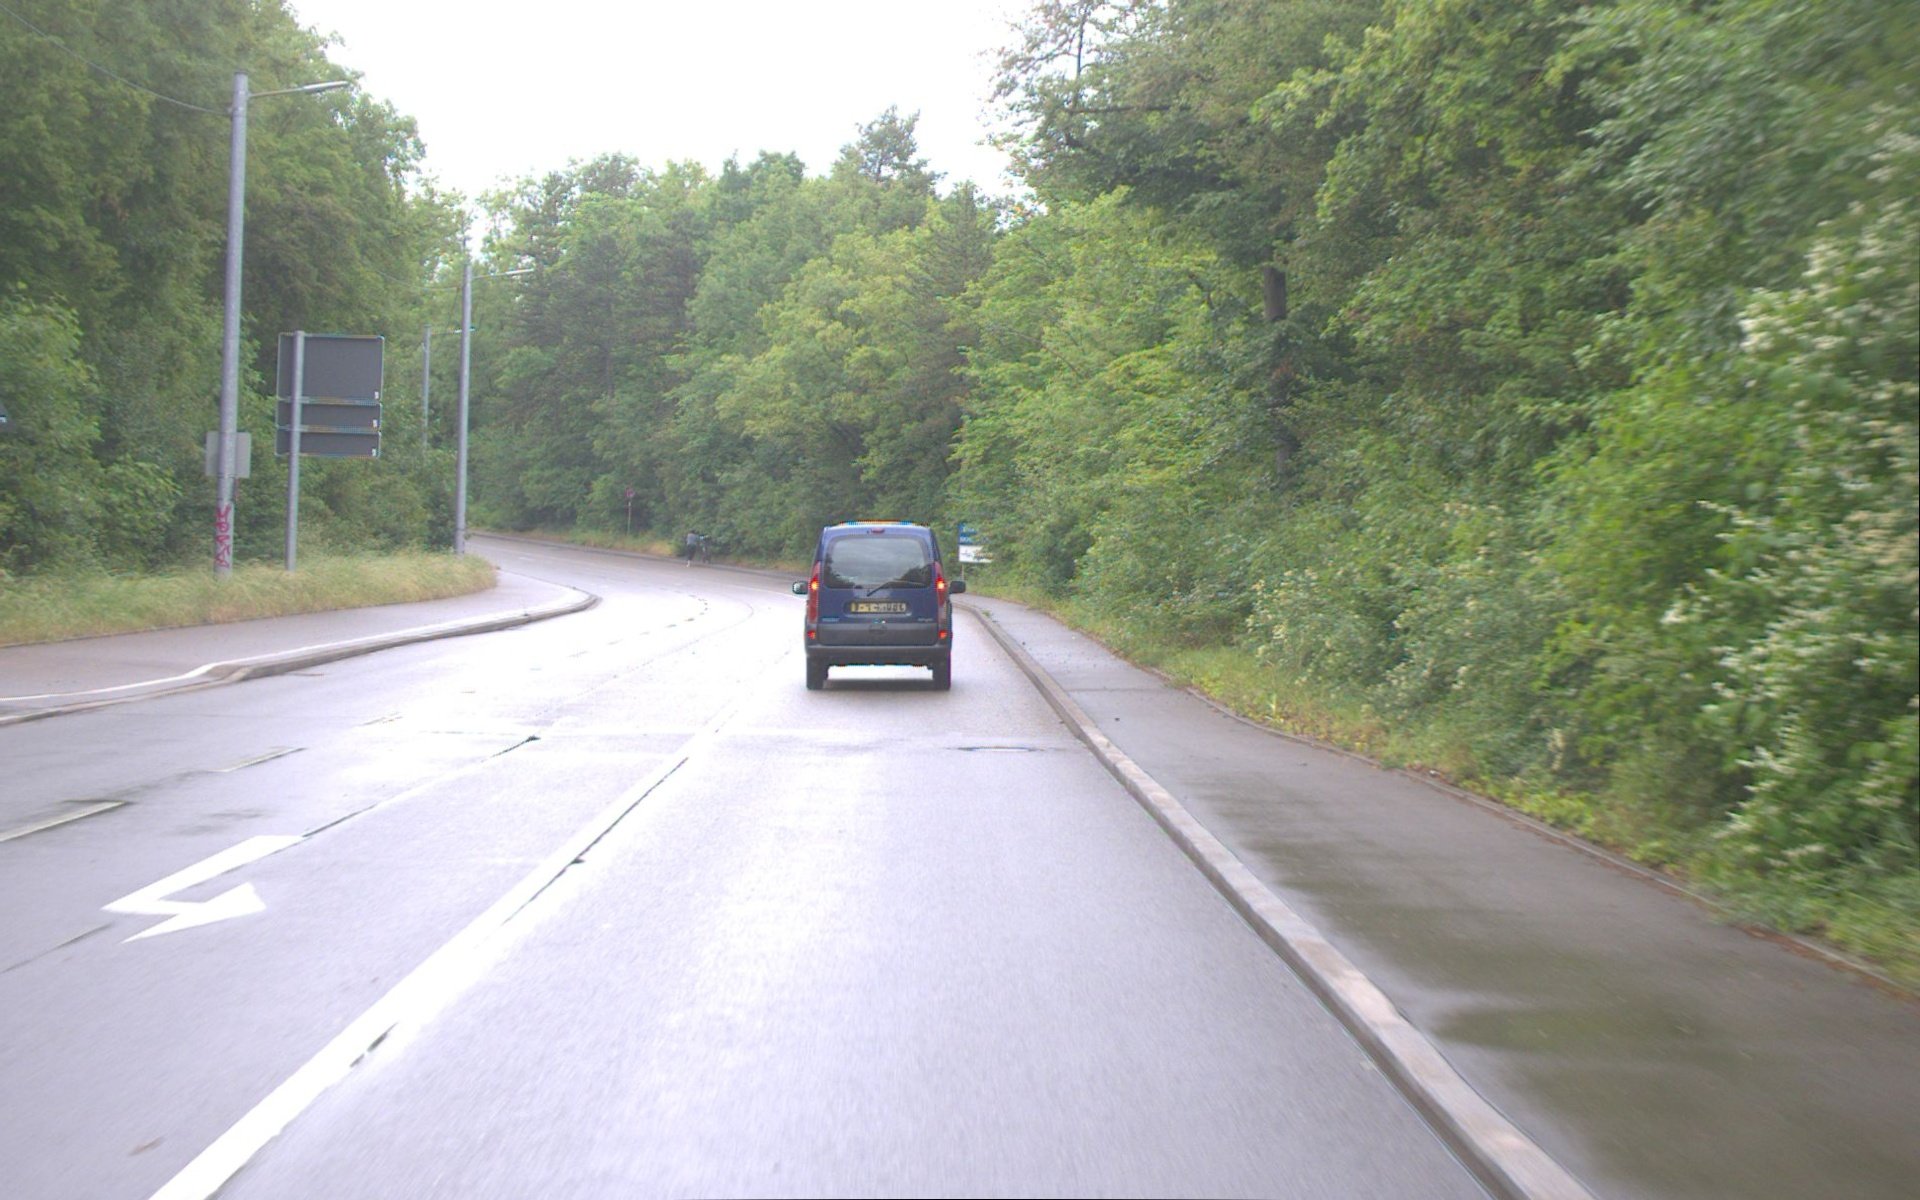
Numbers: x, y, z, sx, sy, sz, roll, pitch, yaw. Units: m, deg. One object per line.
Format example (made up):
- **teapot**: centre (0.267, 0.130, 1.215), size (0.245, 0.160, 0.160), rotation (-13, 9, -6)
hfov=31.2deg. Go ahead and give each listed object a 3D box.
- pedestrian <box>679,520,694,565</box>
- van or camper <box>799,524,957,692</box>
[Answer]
- **pedestrian**: centre (-11.381, -2.399, 143.205), size (0.490, 1.863, 0.680), rotation (1, 1, -14)
- **van or camper**: centre (-0.948, 0.065, 39.288), size (1.712, 1.819, 4.000), rotation (0, 1, -2)
